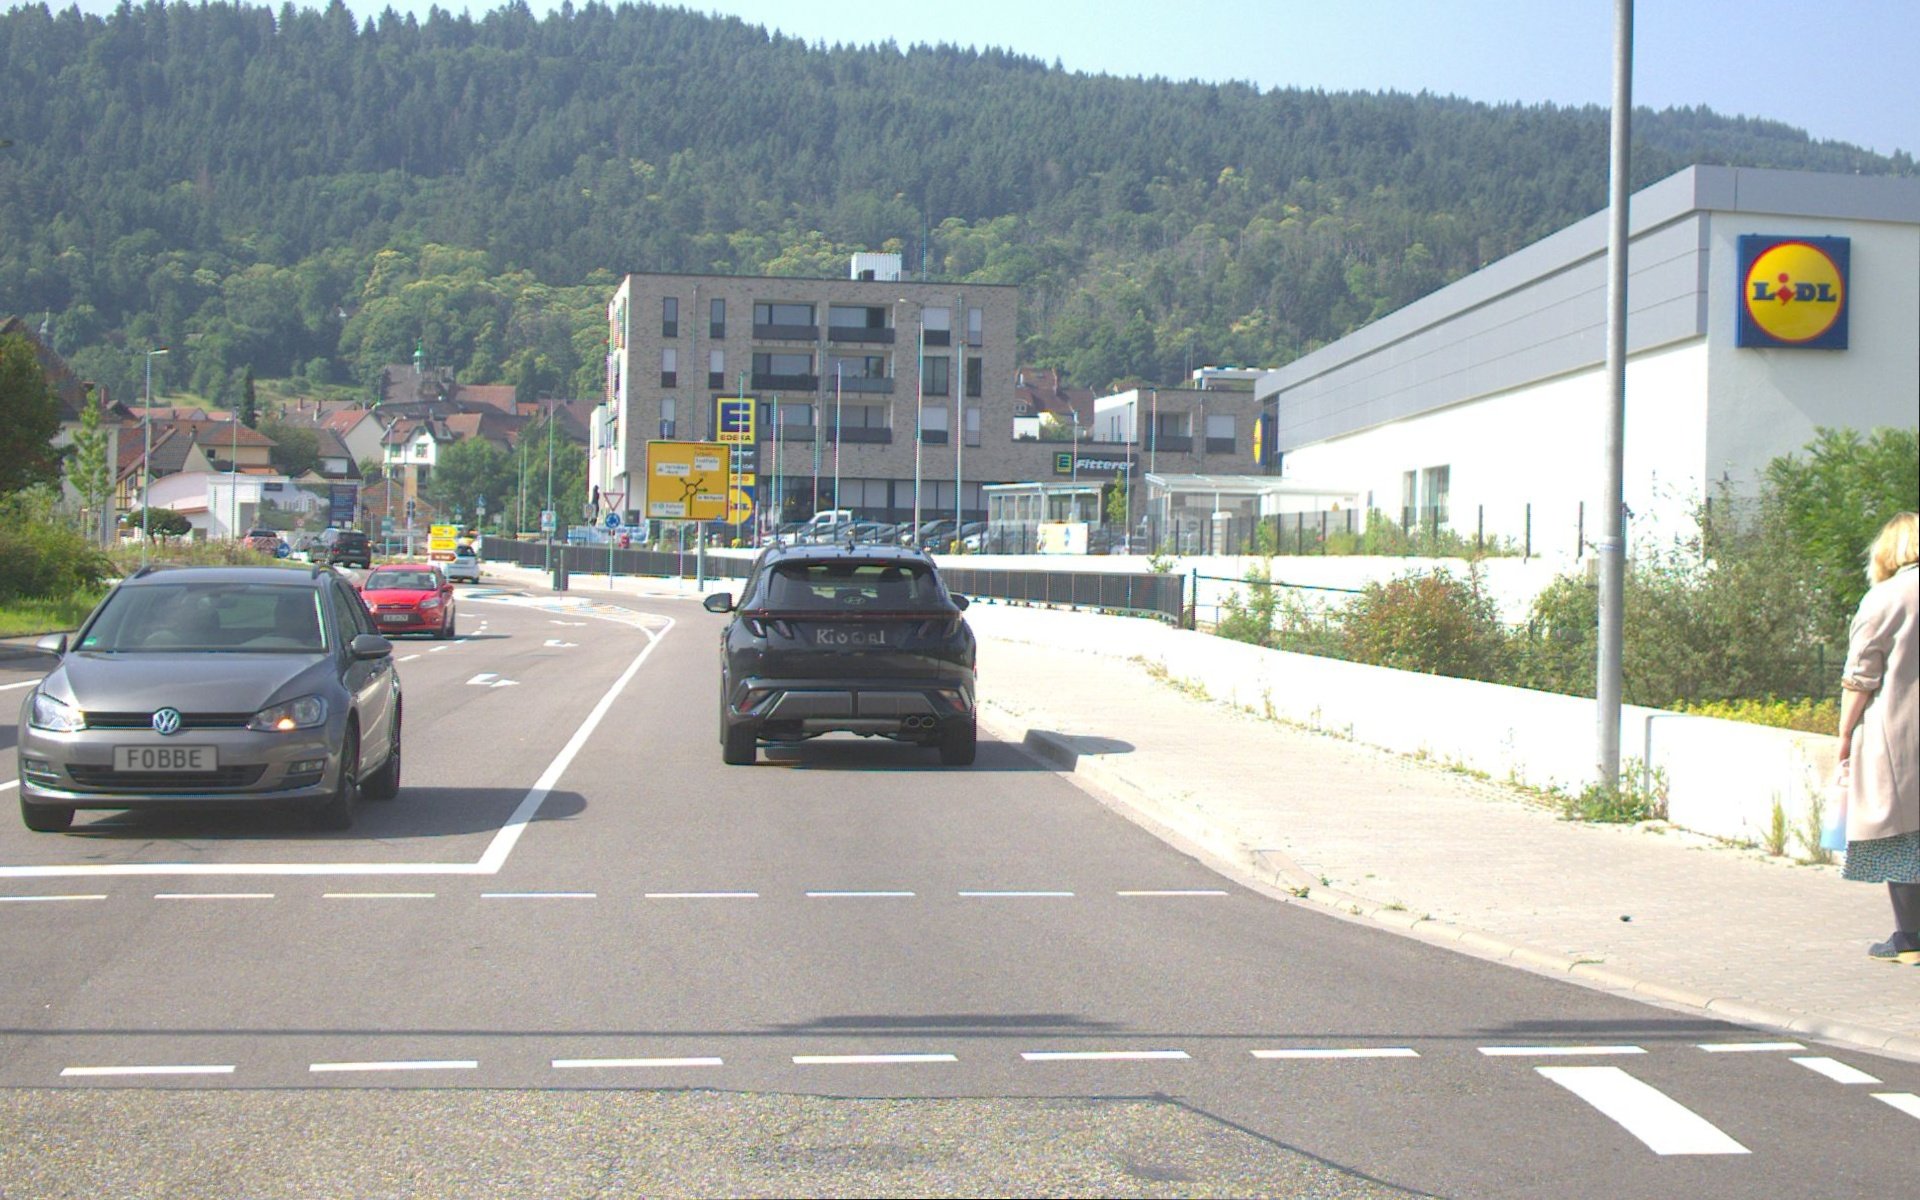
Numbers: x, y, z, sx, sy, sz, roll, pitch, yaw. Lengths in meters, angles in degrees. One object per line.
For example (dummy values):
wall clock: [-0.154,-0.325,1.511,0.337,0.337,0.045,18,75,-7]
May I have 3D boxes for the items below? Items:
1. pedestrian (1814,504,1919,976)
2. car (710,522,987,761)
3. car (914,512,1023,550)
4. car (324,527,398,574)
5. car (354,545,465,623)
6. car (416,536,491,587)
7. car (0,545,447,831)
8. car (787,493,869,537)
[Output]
pedestrian: [3.531,0.493,12.418,0.710,1.665,0.593,0,0,-3]
car: [-0.773,0.270,26.352,1.881,1.678,4.000,1,1,1]
car: [0.343,-2.732,136.593,4.060,1.399,1.486,1,1,-22]
car: [-26.025,-2.152,149.456,1.994,2.007,3.999,1,1,8]
car: [-10.948,-0.340,68.627,1.837,1.487,4.433,0,1,-5]
car: [-20.212,-1.530,137.017,1.993,2.007,4.001,0,1,-23]
car: [-4.191,0.432,19.924,1.772,1.468,4.220,1,1,0]
car: [-6.494,-4.191,169.847,3.987,2.128,2.000,0,1,-1]
